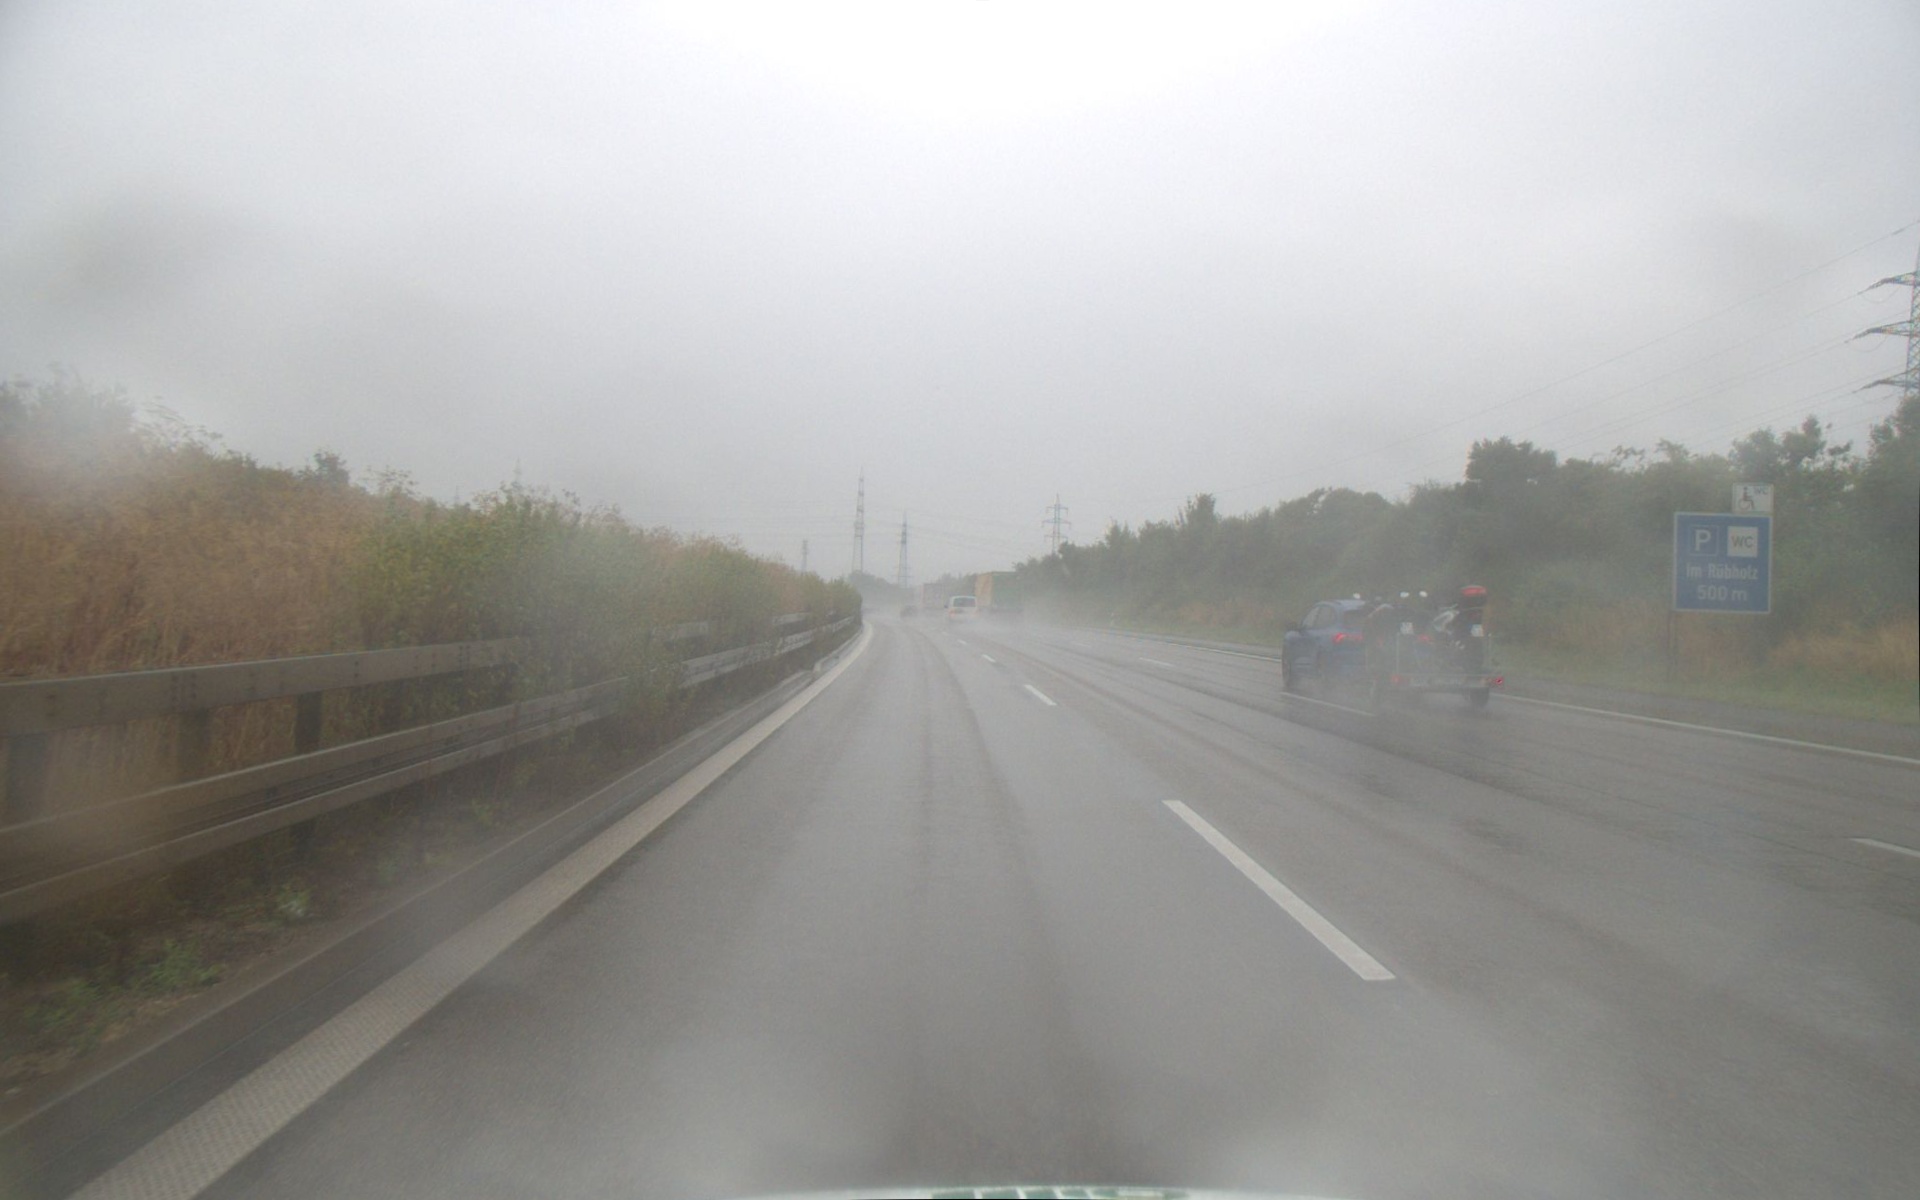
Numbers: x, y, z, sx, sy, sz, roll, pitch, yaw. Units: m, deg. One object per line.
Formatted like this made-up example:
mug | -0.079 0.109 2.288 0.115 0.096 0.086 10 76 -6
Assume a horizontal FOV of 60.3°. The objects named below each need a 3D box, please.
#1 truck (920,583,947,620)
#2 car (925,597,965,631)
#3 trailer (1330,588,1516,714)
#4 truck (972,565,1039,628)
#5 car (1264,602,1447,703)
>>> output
truck | -3.255 0.186 203.374 3.167 4.387 8.833 1 0 -2
car | -0.972 0.870 104.663 1.957 2.049 3.991 1 0 -9
trailer | 7.085 0.766 25.624 1.939 1.816 3.188 1 -1 -1
truck | 3.493 -0.165 132.322 4.105 4.711 16.095 1 -1 -3
car | 6.981 0.907 29.744 1.953 1.647 4.990 1 -1 -2
